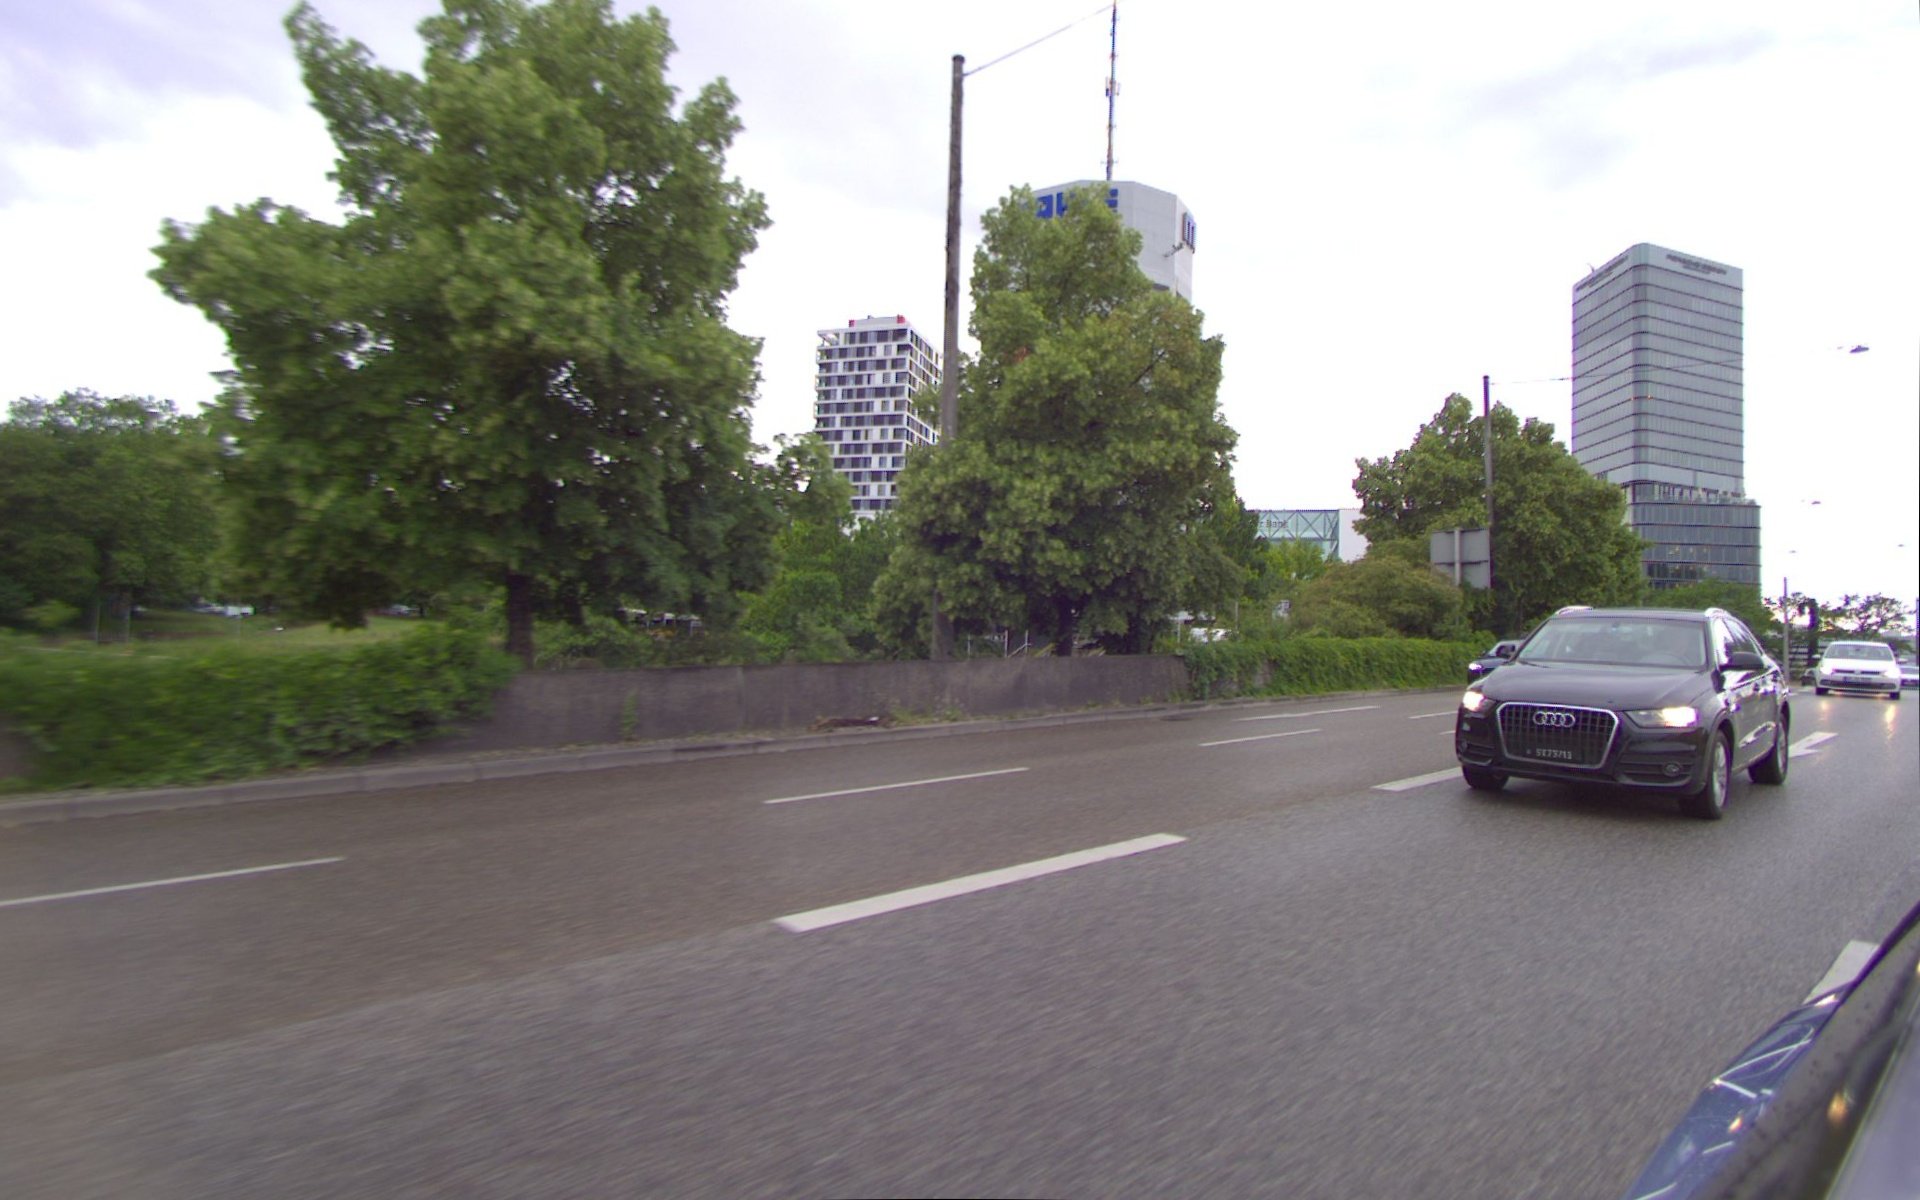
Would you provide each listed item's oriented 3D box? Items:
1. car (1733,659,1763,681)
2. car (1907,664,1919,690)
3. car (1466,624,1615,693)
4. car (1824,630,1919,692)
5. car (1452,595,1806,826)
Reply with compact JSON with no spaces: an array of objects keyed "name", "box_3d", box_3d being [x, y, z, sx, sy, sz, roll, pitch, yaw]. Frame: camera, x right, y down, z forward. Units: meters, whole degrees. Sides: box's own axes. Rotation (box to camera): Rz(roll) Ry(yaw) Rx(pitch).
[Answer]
[{"name":"car","box_3d":[57.710,5.121,74.142,1.628,1.495,3.622,0,-4,40]},{"name":"car","box_3d":[55.230,4.415,57.895,1.538,1.448,3.747,-1,-4,43]},{"name":"car","box_3d":[14.362,1.361,24.966,4.272,1.443,1.874,-1,0,-41]},{"name":"car","box_3d":[23.973,1.624,26.610,1.724,1.492,4.197,-2,-5,42]},{"name":"car","box_3d":[5.989,0.757,8.855,4.057,1.553,1.727,1,0,-43]}]
